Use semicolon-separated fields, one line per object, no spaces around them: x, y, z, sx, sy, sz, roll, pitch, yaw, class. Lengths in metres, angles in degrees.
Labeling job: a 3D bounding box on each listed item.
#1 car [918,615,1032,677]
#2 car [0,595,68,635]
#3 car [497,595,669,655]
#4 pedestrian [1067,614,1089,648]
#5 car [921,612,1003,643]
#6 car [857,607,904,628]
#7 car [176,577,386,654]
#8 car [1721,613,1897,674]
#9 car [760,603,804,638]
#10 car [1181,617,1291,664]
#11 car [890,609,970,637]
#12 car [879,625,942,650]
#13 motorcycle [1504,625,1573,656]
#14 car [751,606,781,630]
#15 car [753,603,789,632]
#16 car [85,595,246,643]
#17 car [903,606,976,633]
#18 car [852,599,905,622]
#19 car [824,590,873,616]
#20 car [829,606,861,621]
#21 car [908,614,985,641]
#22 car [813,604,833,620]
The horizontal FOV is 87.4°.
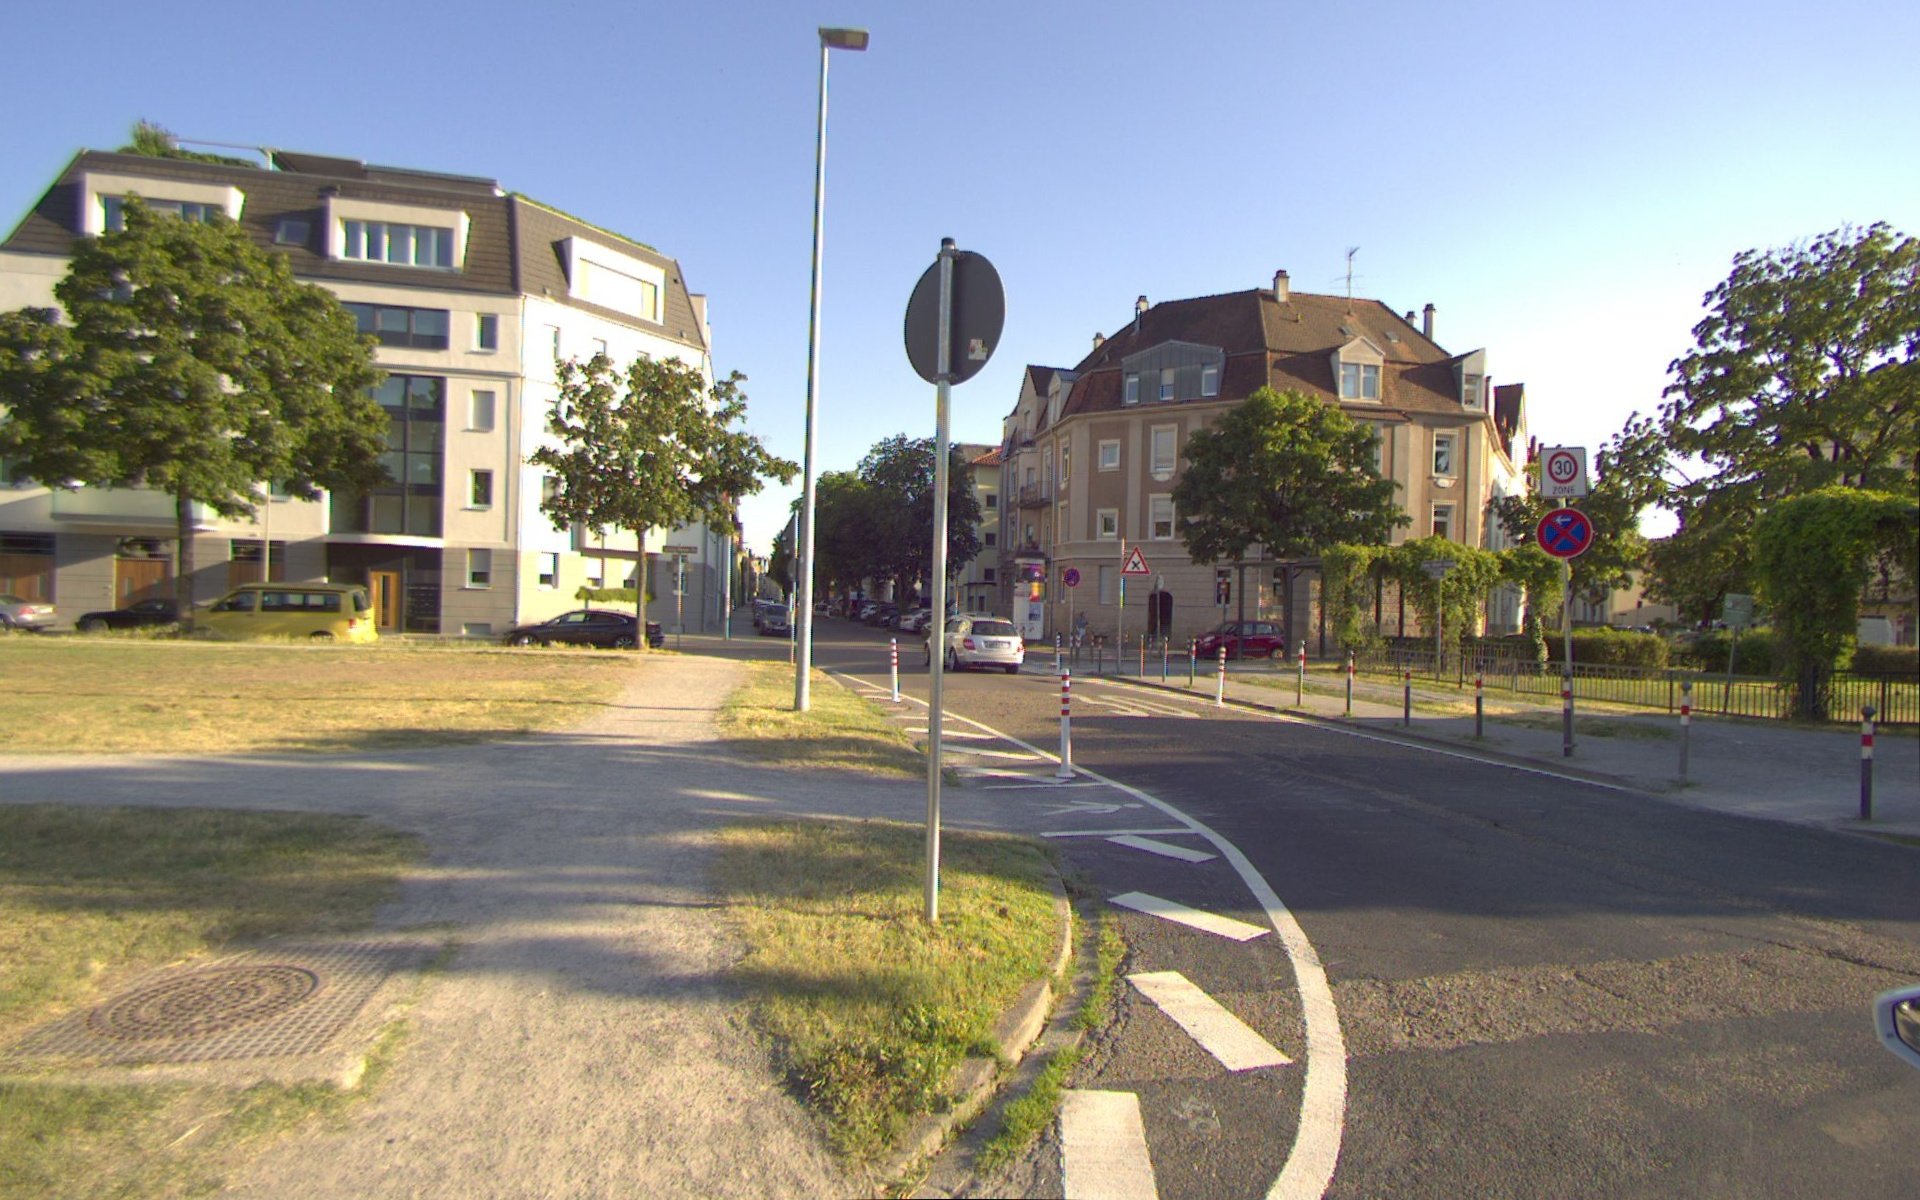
0.292;1.177;26.798;1.794;1.492;4.200;2;-1;-17;car
-31.922;0.447;32.857;3.670;1.256;1.621;2;-2;-16;car
-11.696;0.787;31.444;4.754;1.691;1.785;2;-1;-12;car
5.819;1.508;49.536;0.806;1.566;0.741;5;3;29;pedestrian
0.069;1.415;52.648;3.992;1.525;1.857;1;0;-13;car
-6.535;1.421;82.369;3.678;1.579;1.721;1;0;-13;car
-19.842;0.467;29.575;4.613;2.040;2.028;2;-1;-13;car
43.546;2.161;51.703;2.299;2.781;6.610;2;-1;-40;car
-8.946;0.988;50.244;1.858;1.612;4.078;2;-1;-14;car
11.513;1.674;42.048;4.015;1.764;1.808;2;2;-11;car
-1.798;1.351;59.748;4.420;1.546;1.946;0;1;-18;car
-3.440;2.591;69.846;4.132;1.579;1.869;1;0;-13;car
29.750;2.074;51.730;0.841;1.506;3.213;2;-2;-23;motorcycle
-12.414;1.146;64.267;1.733;1.466;4.133;2;-1;-11;car
-11.296;1.021;59.818;1.858;1.612;4.078;2;-1;-14;car
-27.000;0.654;34.261;3.930;1.482;1.674;2;0;-12;car
-1.327;1.263;65.436;4.463;1.662;1.869;1;0;-13;car
-7.398;0.930;90.870;4.560;1.861;1.949;2;0;-12;car
-13.495;0.392;121.362;5.467;3.008;2.465;2;0;-15;car
-13.555;1.613;118.148;3.545;1.682;1.645;2;0;-14;car
-0.781;1.558;57.000;4.085;1.467;1.669;1;0;-13;car
-13.696;1.240;100.180;1.790;1.492;4.210;2;-1;-9;car
